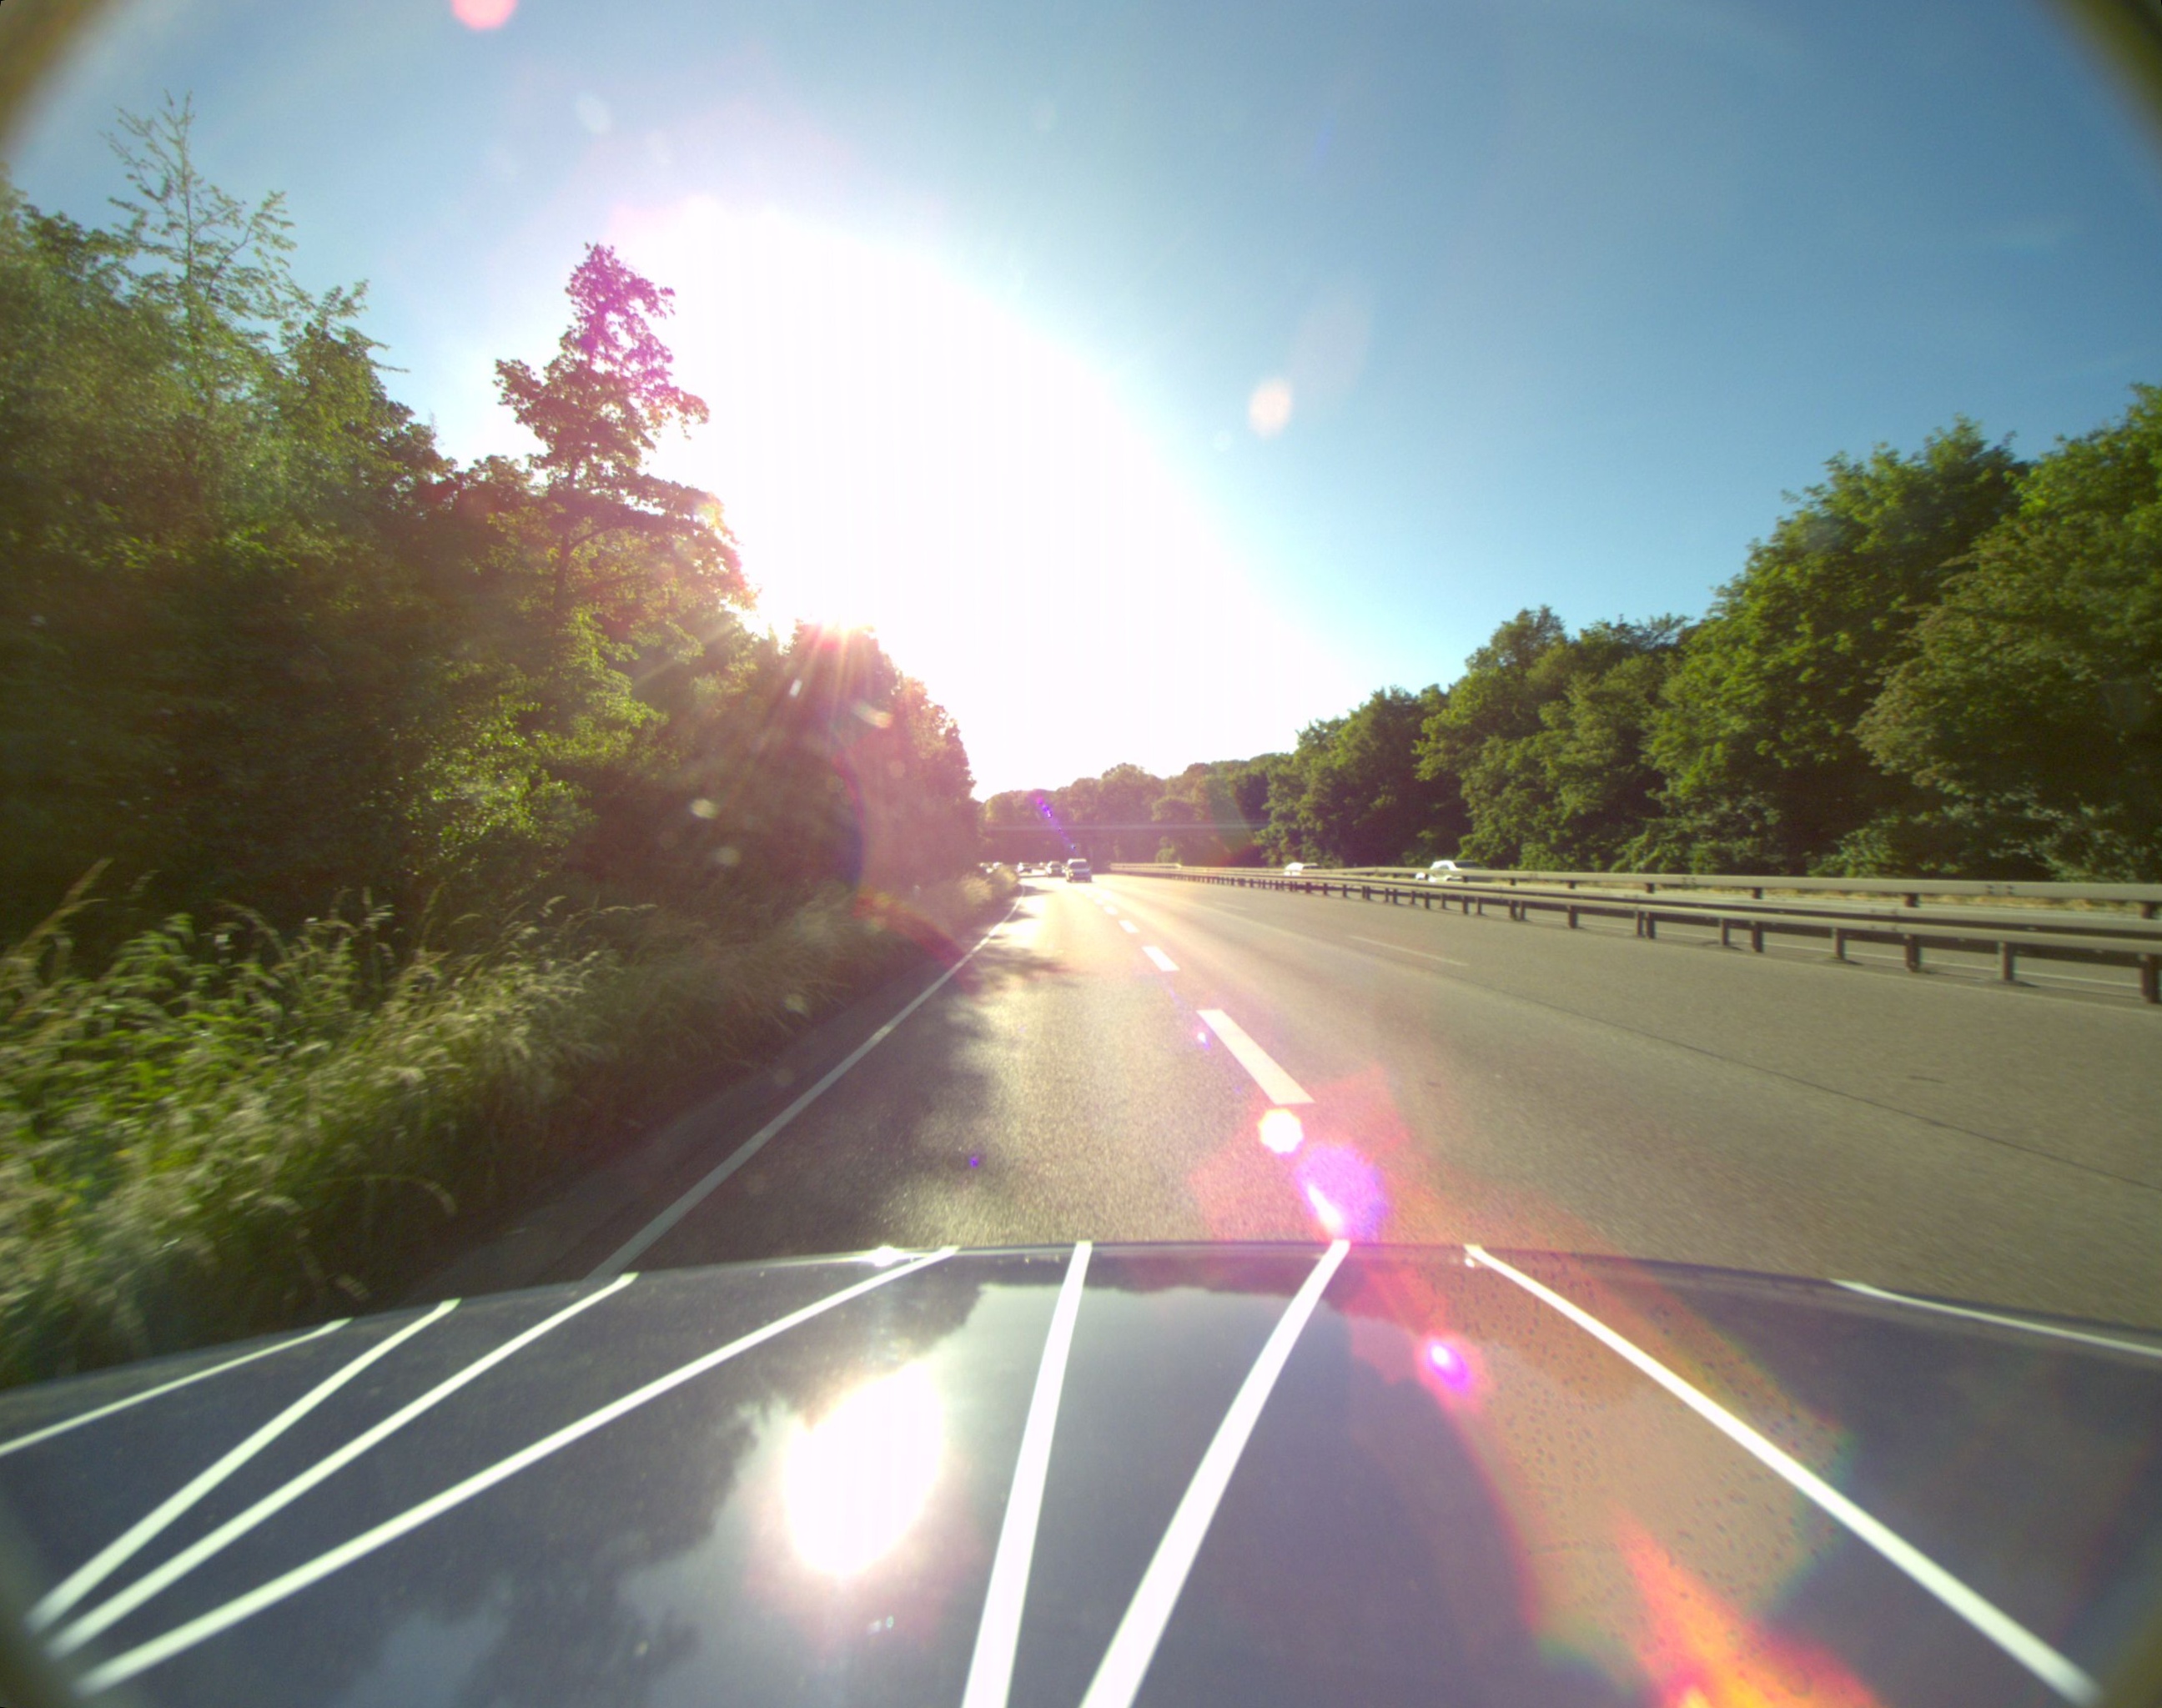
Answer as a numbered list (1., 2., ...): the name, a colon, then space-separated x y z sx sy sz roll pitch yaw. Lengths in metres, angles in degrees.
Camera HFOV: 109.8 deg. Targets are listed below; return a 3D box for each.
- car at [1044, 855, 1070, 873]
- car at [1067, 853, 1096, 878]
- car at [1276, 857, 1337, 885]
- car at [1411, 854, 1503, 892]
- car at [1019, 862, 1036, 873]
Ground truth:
1. car: -2.665 1.016 81.514 2.258 1.842 5.139 -1 0 -7
2. car: 0.007 0.900 60.763 1.801 1.796 4.829 -2 1 -6
3. car: 13.305 0.962 45.209 1.999 1.504 4.421 -2 0 -4
4. car: 17.955 0.870 36.505 1.999 1.640 4.421 -1 0 -4
5. car: -8.088 2.046 114.701 1.936 1.499 5.081 -1 1 -10
